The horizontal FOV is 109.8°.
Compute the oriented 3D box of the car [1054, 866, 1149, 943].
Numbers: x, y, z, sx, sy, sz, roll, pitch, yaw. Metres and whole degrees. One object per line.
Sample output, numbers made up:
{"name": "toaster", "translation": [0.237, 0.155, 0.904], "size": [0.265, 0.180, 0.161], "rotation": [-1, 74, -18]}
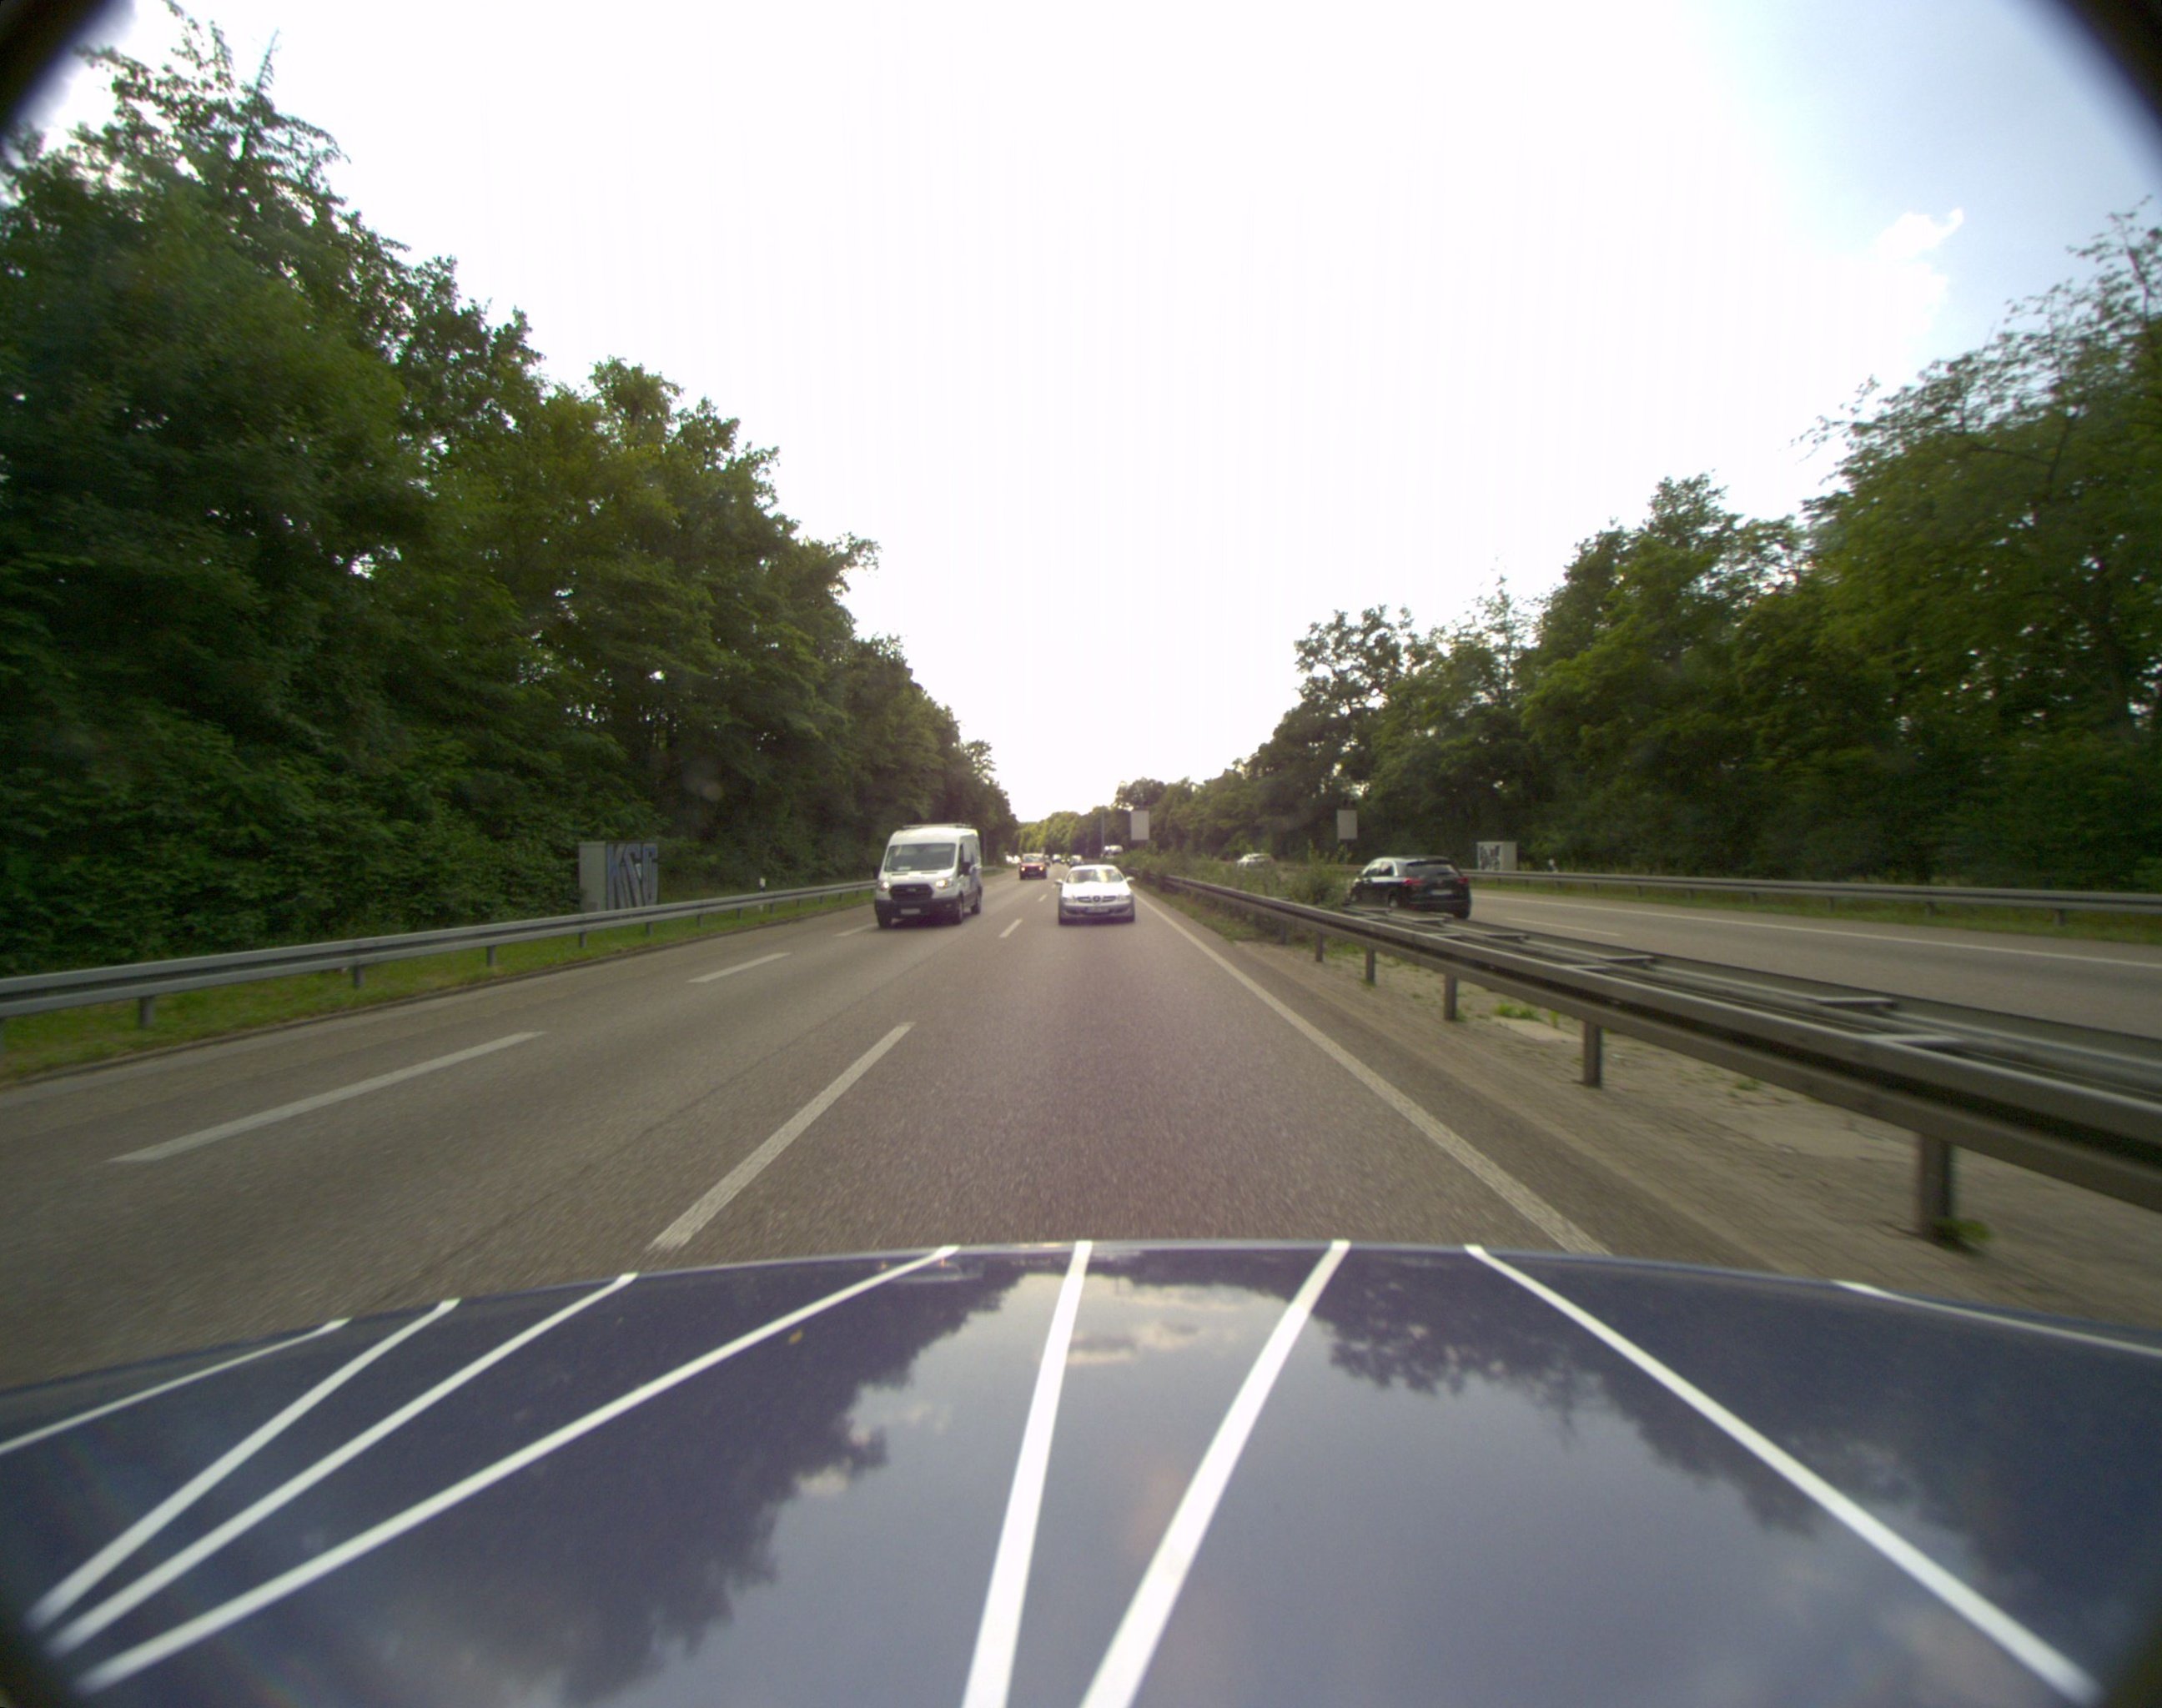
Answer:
{"name": "car", "translation": [0.451, 1.010, 17.126], "size": [1.751, 1.295, 5.223], "rotation": [-2, 0, 1]}

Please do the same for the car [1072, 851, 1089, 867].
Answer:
{"name": "car", "translation": [-0.029, 0.588, 97.403], "size": [1.998, 2.002, 4.000], "rotation": [-1, 0, 2]}

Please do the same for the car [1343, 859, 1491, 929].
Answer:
{"name": "car", "translation": [8.538, 0.945, 19.822], "size": [1.870, 1.579, 4.565], "rotation": [0, 0, 0]}

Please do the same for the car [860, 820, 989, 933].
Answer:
{"name": "car", "translation": [-3.895, 0.500, 19.994], "size": [2.104, 2.493, 5.279], "rotation": [-2, 0, 1]}

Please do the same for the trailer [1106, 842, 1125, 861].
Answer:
{"name": "trailer", "translation": [7.122, -0.502, 158.698], "size": [2.946, 3.811, 10.307], "rotation": [0, 0, -3]}

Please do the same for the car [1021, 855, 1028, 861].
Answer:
{"name": "car", "translation": [-16.635, 1.206, 223.143], "size": [1.785, 1.512, 3.999], "rotation": [-1, 0, -1]}

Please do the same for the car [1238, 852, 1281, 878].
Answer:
{"name": "car", "translation": [12.417, 0.731, 53.163], "size": [1.790, 1.728, 4.880], "rotation": [0, 0, -1]}

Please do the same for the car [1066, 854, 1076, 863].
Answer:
{"name": "car", "translation": [-1.616, 0.735, 125.266], "size": [1.473, 1.560, 3.294], "rotation": [0, 0, -2]}

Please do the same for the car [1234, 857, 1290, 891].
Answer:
{"name": "car", "translation": [9.004, 0.967, 38.031], "size": [1.826, 1.578, 4.138], "rotation": [0, 0, 0]}

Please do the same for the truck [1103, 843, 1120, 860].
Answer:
{"name": "truck", "translation": [6.681, -0.562, 168.997], "size": [2.963, 3.833, 10.320], "rotation": [0, 0, -2]}

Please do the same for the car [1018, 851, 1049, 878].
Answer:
{"name": "car", "translation": [-3.440, 0.745, 55.994], "size": [1.908, 1.795, 4.395], "rotation": [-2, 0, 1]}

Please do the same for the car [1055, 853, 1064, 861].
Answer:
{"name": "car", "translation": [-4.461, 0.578, 156.286], "size": [1.700, 1.579, 3.999], "rotation": [0, 0, -1]}

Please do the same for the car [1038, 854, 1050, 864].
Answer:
{"name": "car", "translation": [-5.792, 0.818, 118.863], "size": [1.890, 1.516, 3.999], "rotation": [-1, 0, -3]}
